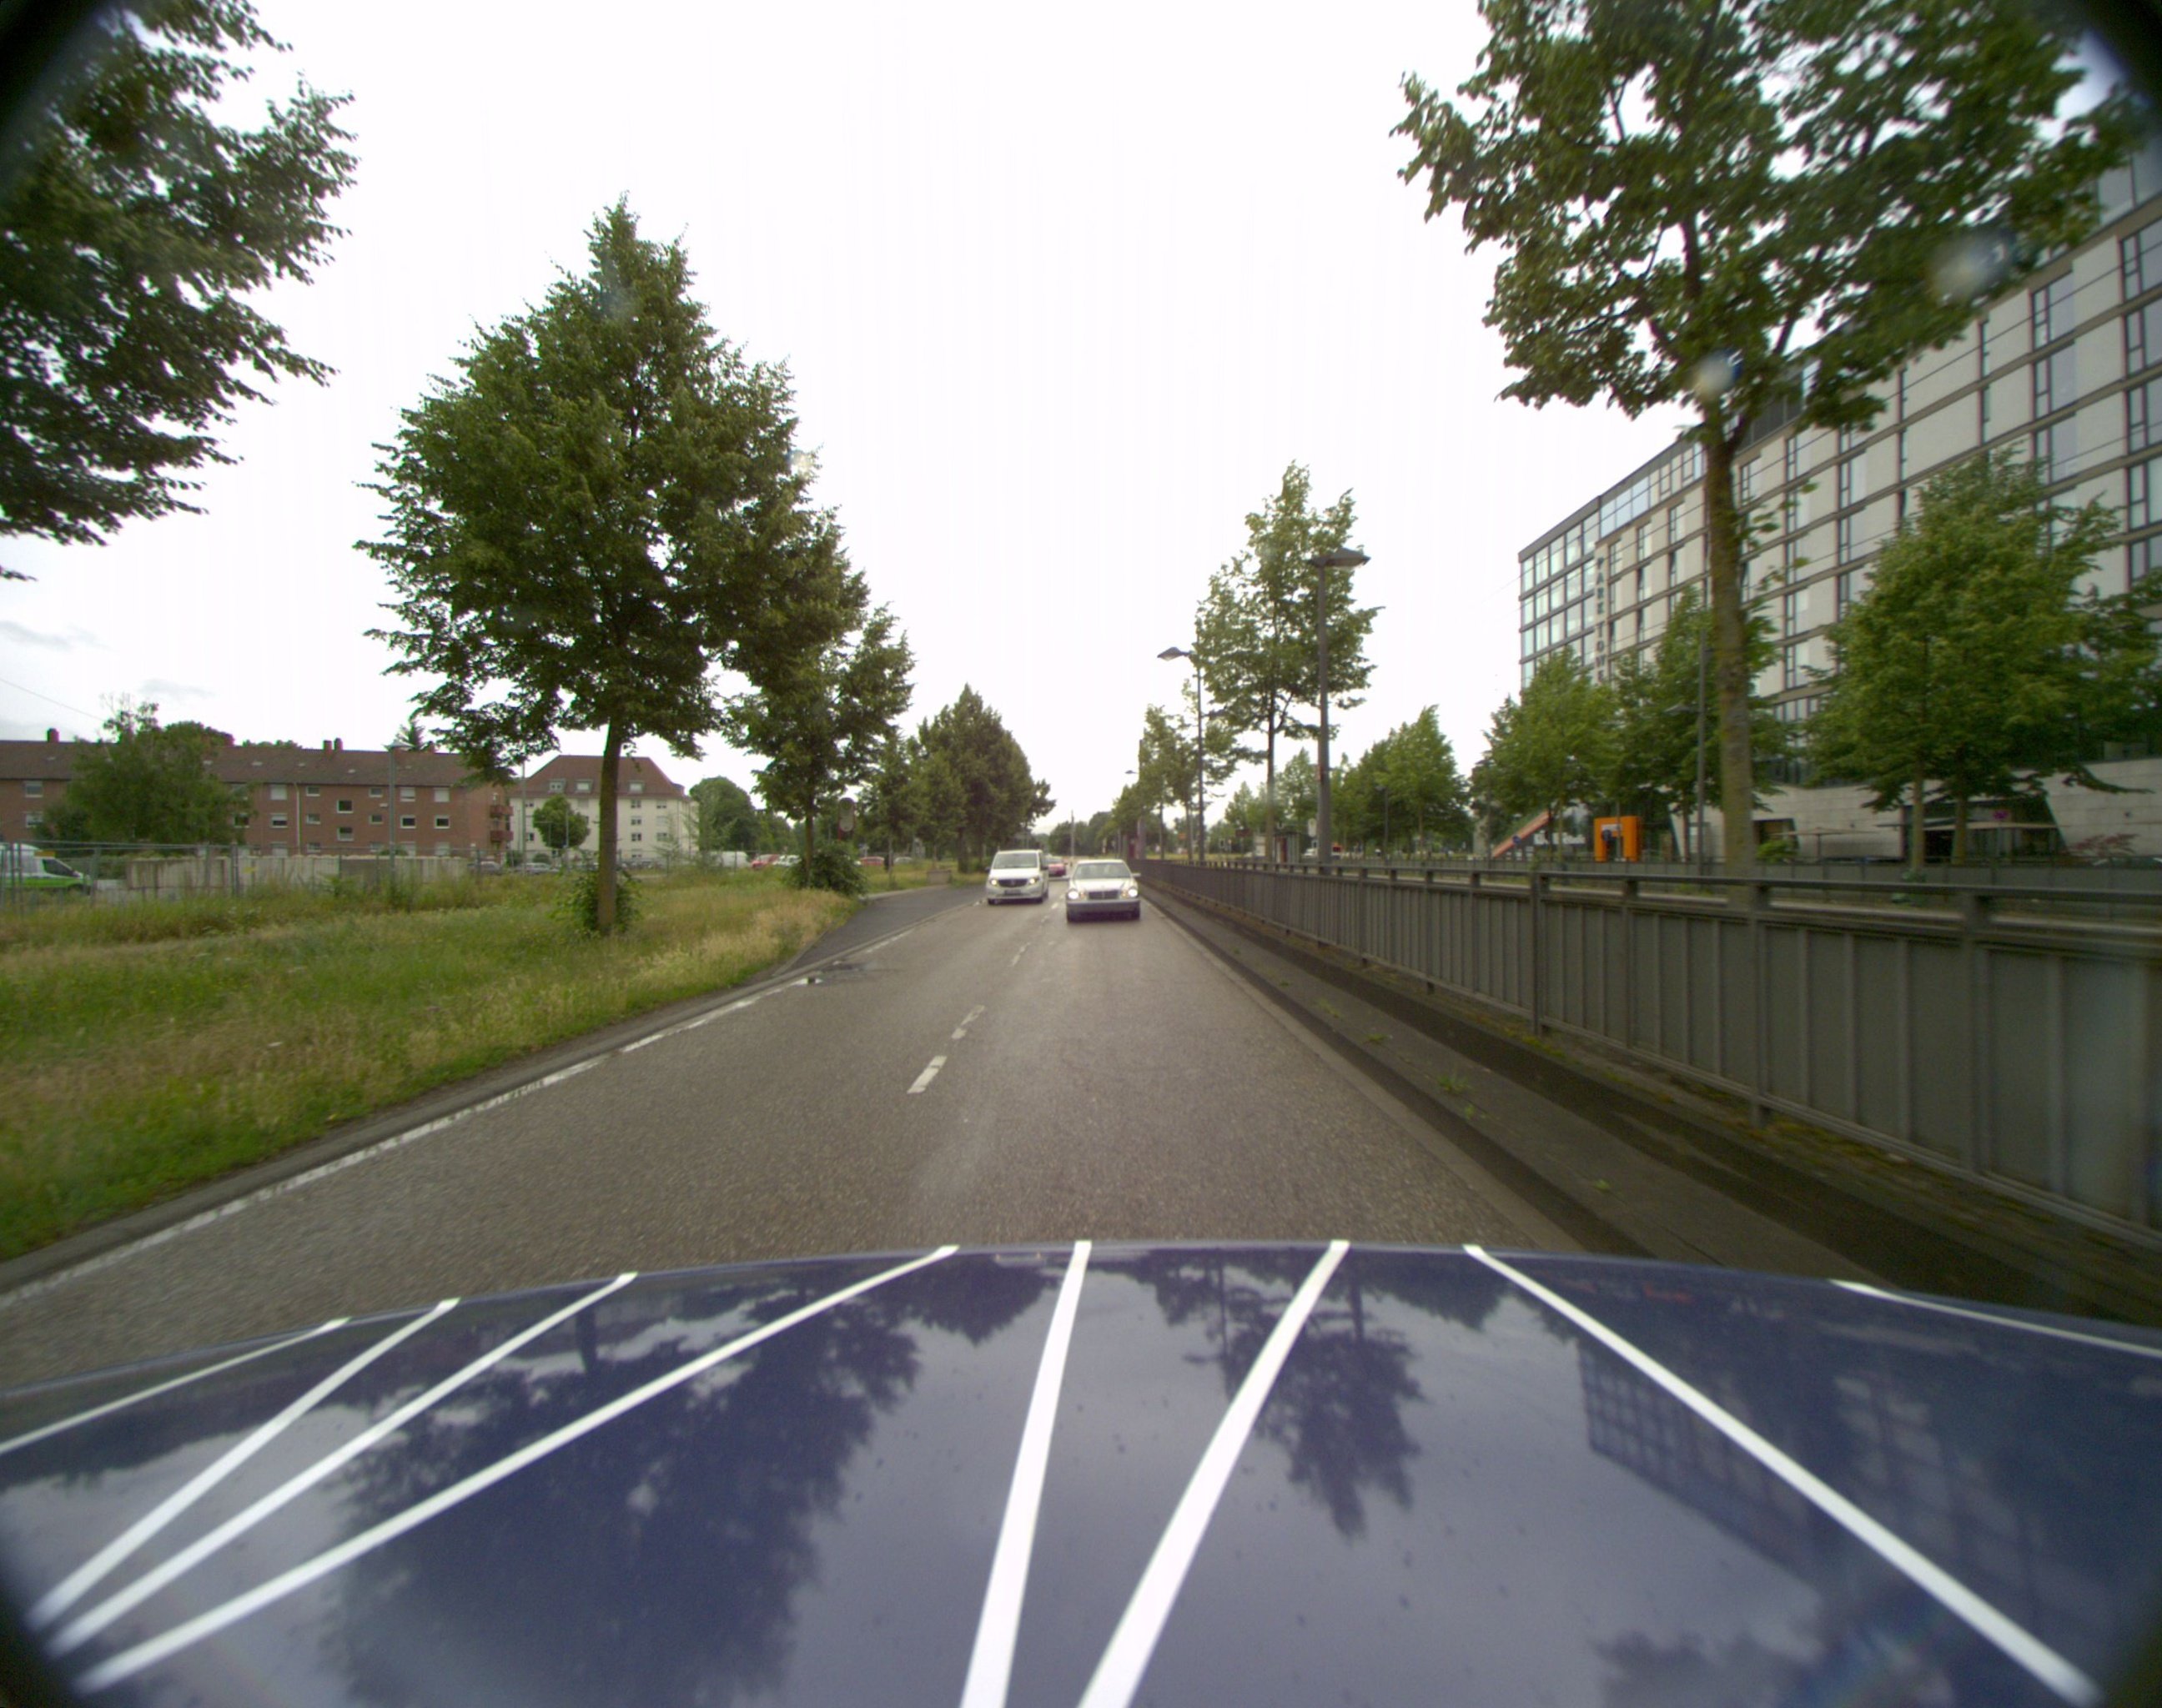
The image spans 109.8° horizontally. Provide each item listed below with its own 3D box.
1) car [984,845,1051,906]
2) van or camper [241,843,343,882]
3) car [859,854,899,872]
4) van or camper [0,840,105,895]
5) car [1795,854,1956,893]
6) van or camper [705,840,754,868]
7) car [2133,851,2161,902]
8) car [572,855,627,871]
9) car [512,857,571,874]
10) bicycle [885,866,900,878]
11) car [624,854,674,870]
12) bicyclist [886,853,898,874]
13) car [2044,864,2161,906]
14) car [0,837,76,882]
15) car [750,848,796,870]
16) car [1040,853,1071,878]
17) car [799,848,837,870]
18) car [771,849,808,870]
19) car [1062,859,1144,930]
[{"bbox_3d":[-2.205,0.687,27.756,1.972,1.968,5.091,-1,1,0],"label":"car"},{"bbox_3d":[-54.396,0.581,52.575,1.919,2.521,5.258,-2,0,-6],"label":"van or camper"},{"bbox_3d":[-22.183,0.993,83.514,3.802,1.696,1.680,-2,1,7],"label":"car"},{"bbox_3d":[-46.713,0.596,32.436,2.208,2.294,6.147,-1,0,-2],"label":"van or camper"},{"bbox_3d":[29.560,0.684,28.455,1.998,1.281,3.859,-1,1,1],"label":"car"},{"bbox_3d":[-41.367,-0.020,89.592,2.343,3.017,5.515,-2,0,12],"label":"van or camper"},{"bbox_3d":[28.254,0.586,17.665,1.998,1.281,4.070,-1,1,3],"label":"car"},{"bbox_3d":[-47.152,0.865,74.484,1.995,1.444,4.007,-2,0,27],"label":"car"},{"bbox_3d":[-48.427,0.981,68.265,1.997,1.364,4.003,-2,0,11],"label":"car"},{"bbox_3d":[-13.926,1.314,56.125,0.548,0.873,1.745,-1,0,4],"label":"bicycle"},{"bbox_3d":[-44.758,0.814,78.723,1.995,1.543,4.007,-2,0,27],"label":"car"},{"bbox_3d":[-13.944,0.696,56.065,0.537,1.497,0.841,-1,1,4],"label":"bicyclist"},{"bbox_3d":[35.707,1.014,25.492,1.998,1.280,3.860,-1,0,3],"label":"car"},{"bbox_3d":[-53.349,0.291,37.103,2.278,2.207,4.758,-1,0,-3],"label":"car"},{"bbox_3d":[-34.673,0.544,85.690,2.195,2.297,5.450,-1,0,9],"label":"car"},{"bbox_3d":[-1.700,0.777,52.175,1.799,1.603,4.245,-1,1,2],"label":"car"},{"bbox_3d":[-28.799,0.515,83.221,1.996,2.297,4.004,-1,0,14],"label":"car"},{"bbox_3d":[-32.227,0.603,84.140,1.997,2.297,4.003,-1,0,9],"label":"car"},{"bbox_3d":[0.529,0.886,18.585,1.738,1.451,4.607,-1,0,1],"label":"car"}]
